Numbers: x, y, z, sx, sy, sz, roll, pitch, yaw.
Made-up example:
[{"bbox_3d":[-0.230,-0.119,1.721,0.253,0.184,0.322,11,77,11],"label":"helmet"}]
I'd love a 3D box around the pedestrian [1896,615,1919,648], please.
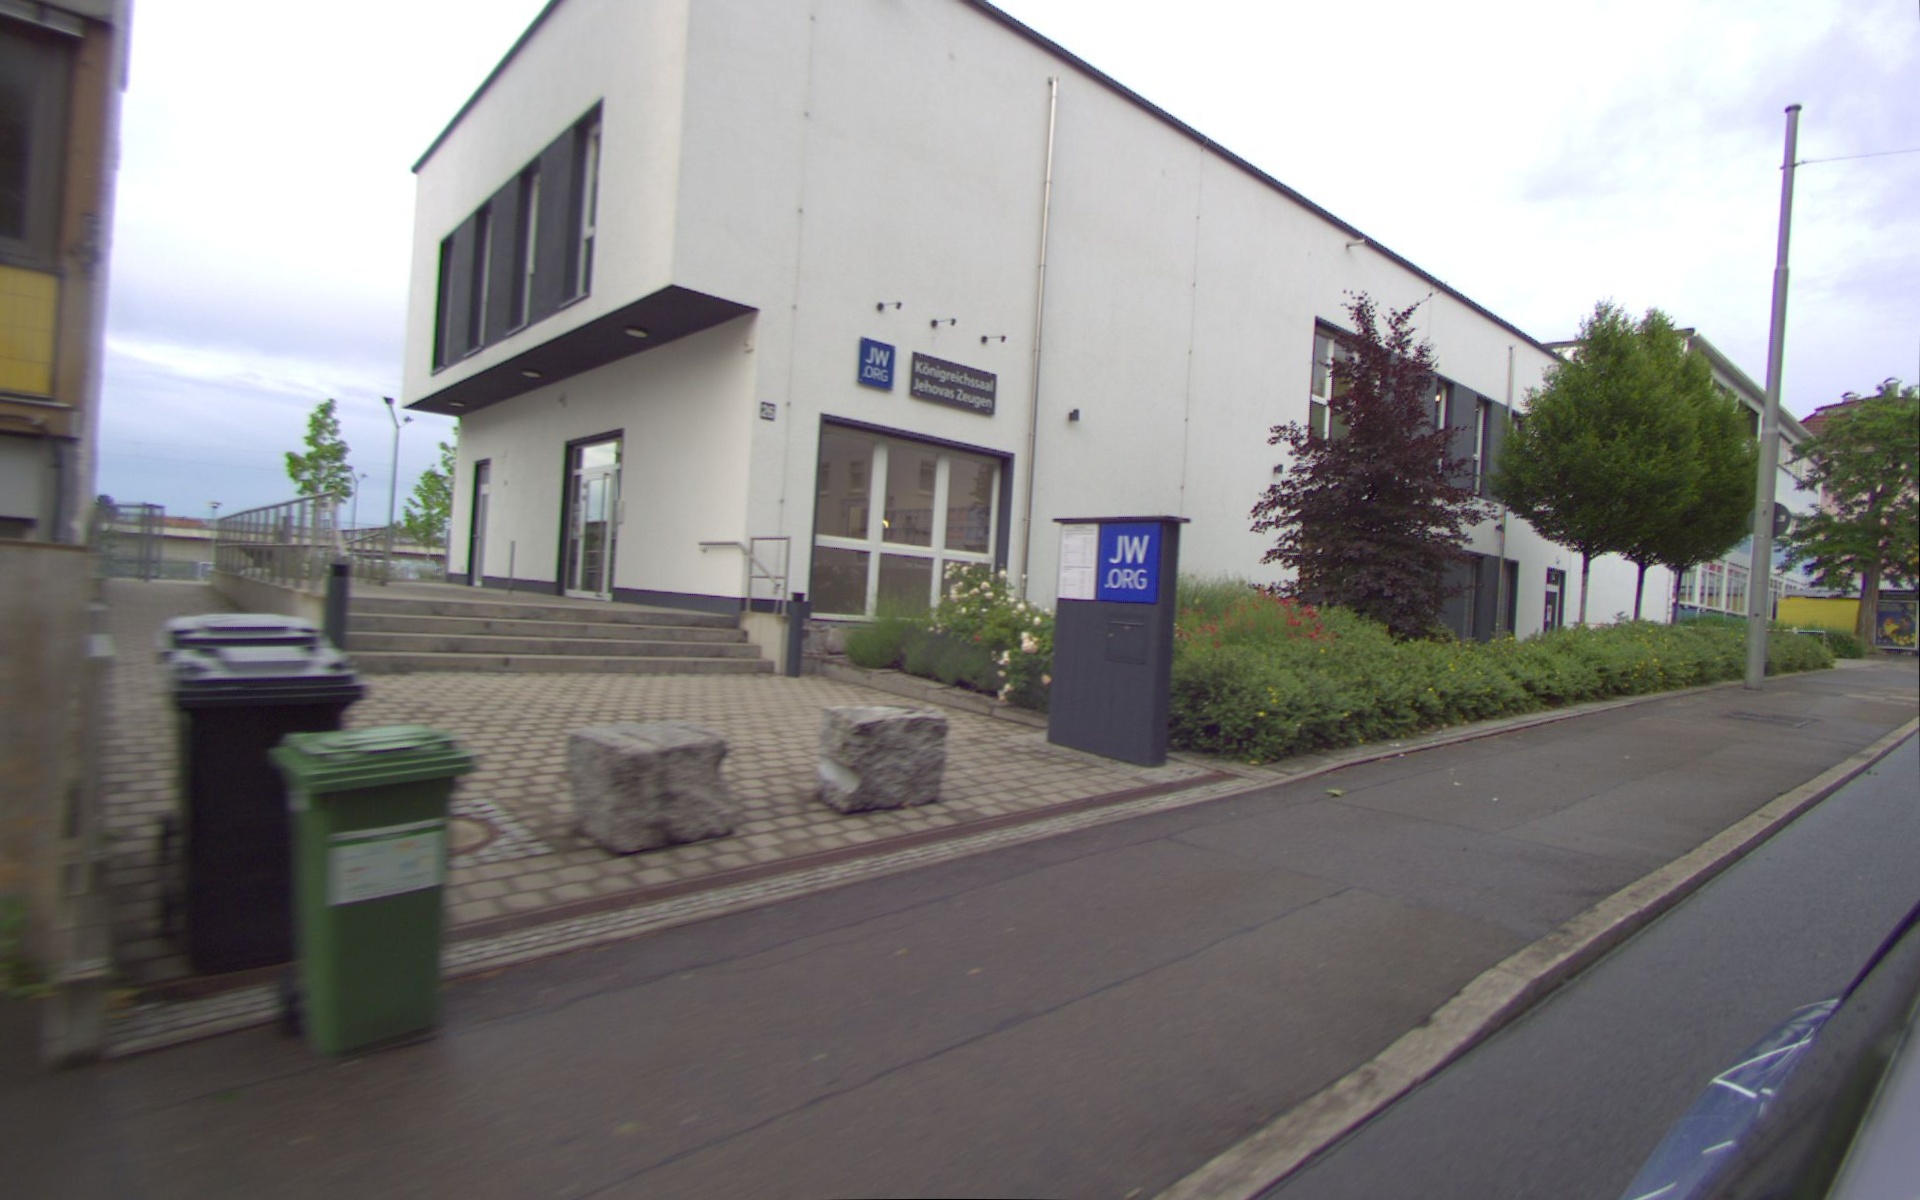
[{"bbox_3d":[38.840,1.298,40.957,1.356,1.289,0.729,5,1,45],"label":"pedestrian"}]

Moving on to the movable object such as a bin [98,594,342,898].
[{"bbox_3d":[-3.146,0.555,4.313,0.764,1.095,0.697,1,4,-39],"label":"movable object such as a bin"}]

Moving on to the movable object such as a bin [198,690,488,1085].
[{"bbox_3d":[-1.933,0.812,3.160,0.673,0.947,0.621,1,4,-39],"label":"movable object such as a bin"}]

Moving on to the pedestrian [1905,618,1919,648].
[{"bbox_3d":[39.829,1.372,42.124,0.661,1.214,0.729,4,1,44],"label":"pedestrian"}]

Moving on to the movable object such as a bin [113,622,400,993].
[{"bbox_3d":[-2.545,0.660,3.663,0.764,1.095,0.697,1,4,-39],"label":"movable object such as a bin"}]
